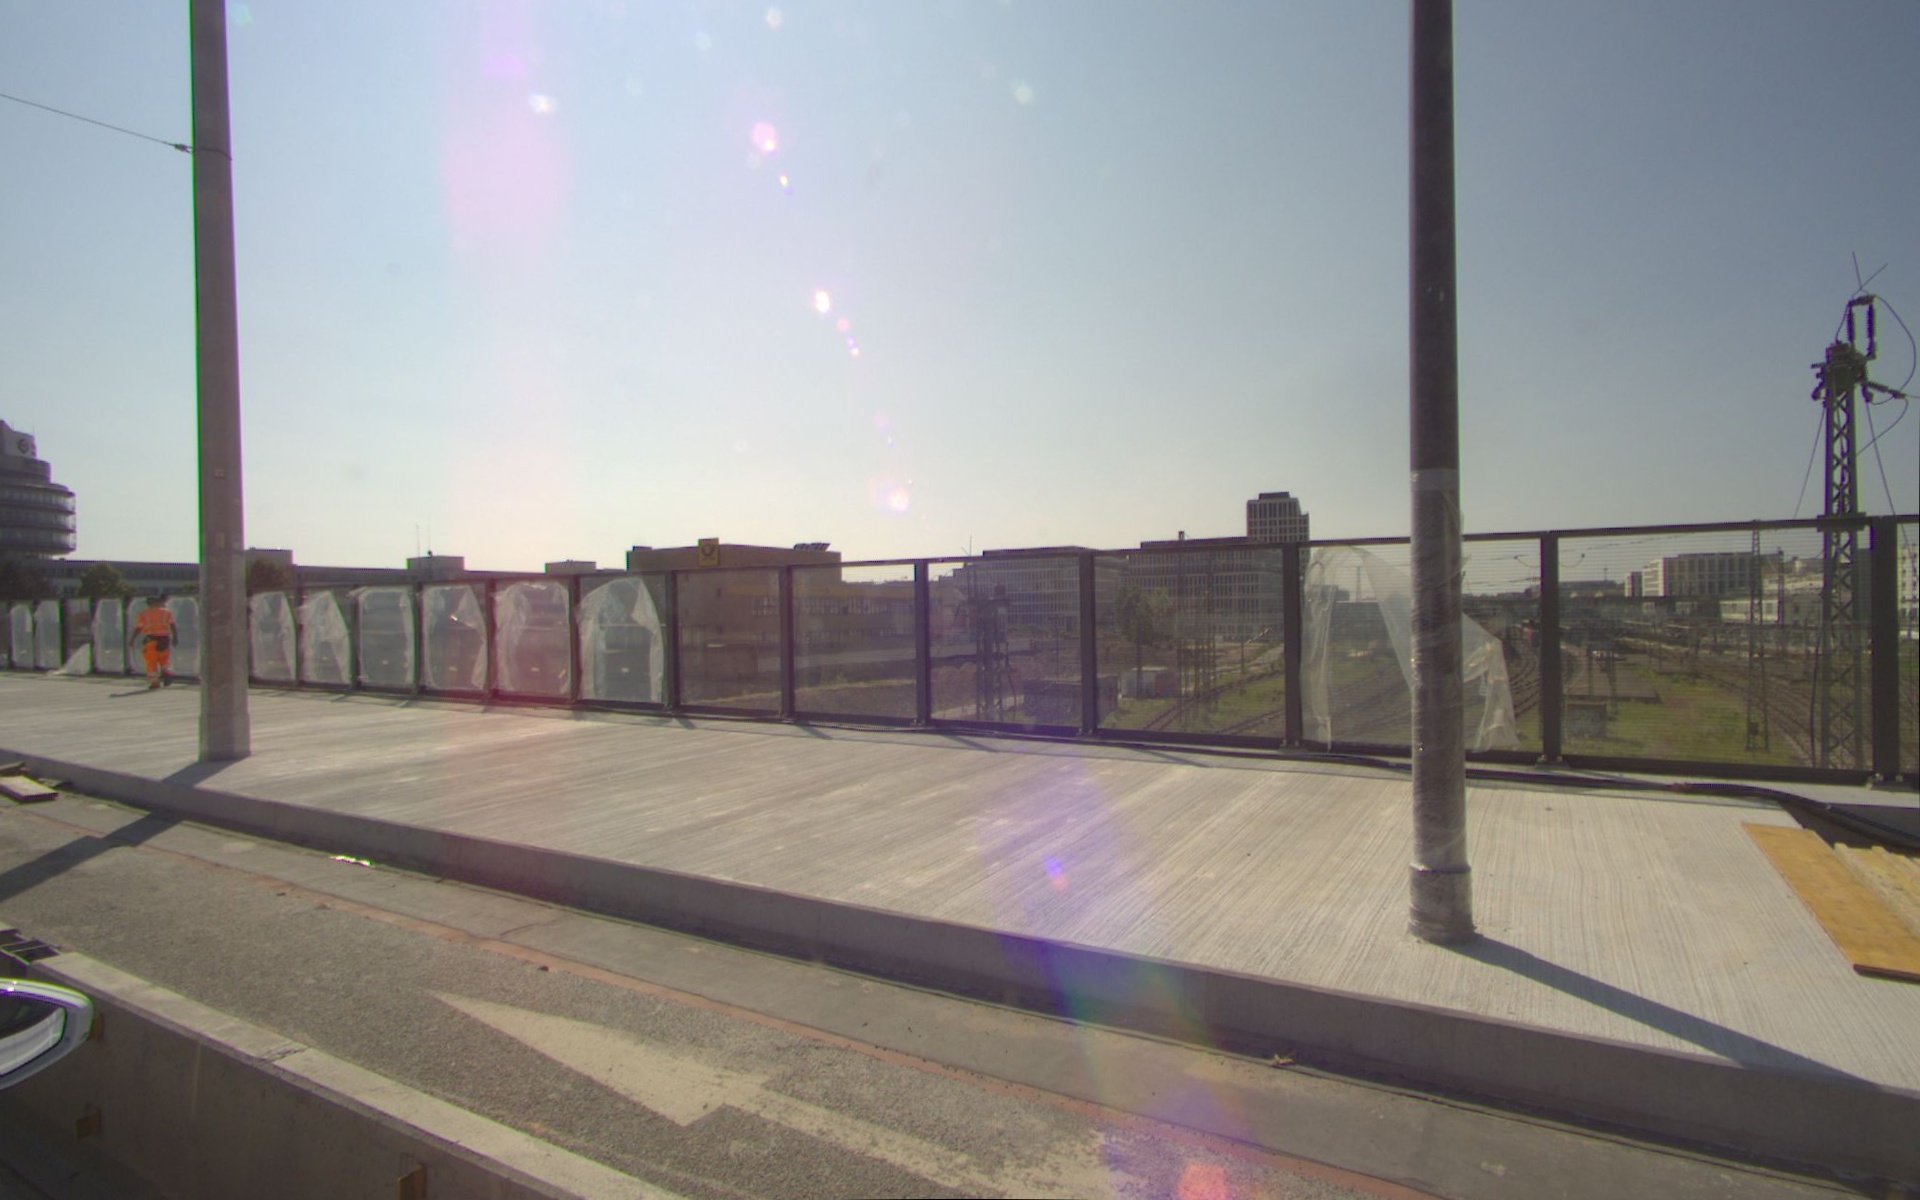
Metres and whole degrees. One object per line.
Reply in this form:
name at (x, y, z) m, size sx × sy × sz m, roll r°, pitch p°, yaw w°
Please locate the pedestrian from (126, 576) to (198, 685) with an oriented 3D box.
pedestrian at (-15.049, 0.557, 18.882) m, size 1.002 × 1.991 × 0.729 m, roll -1°, pitch 1°, yaw 33°
